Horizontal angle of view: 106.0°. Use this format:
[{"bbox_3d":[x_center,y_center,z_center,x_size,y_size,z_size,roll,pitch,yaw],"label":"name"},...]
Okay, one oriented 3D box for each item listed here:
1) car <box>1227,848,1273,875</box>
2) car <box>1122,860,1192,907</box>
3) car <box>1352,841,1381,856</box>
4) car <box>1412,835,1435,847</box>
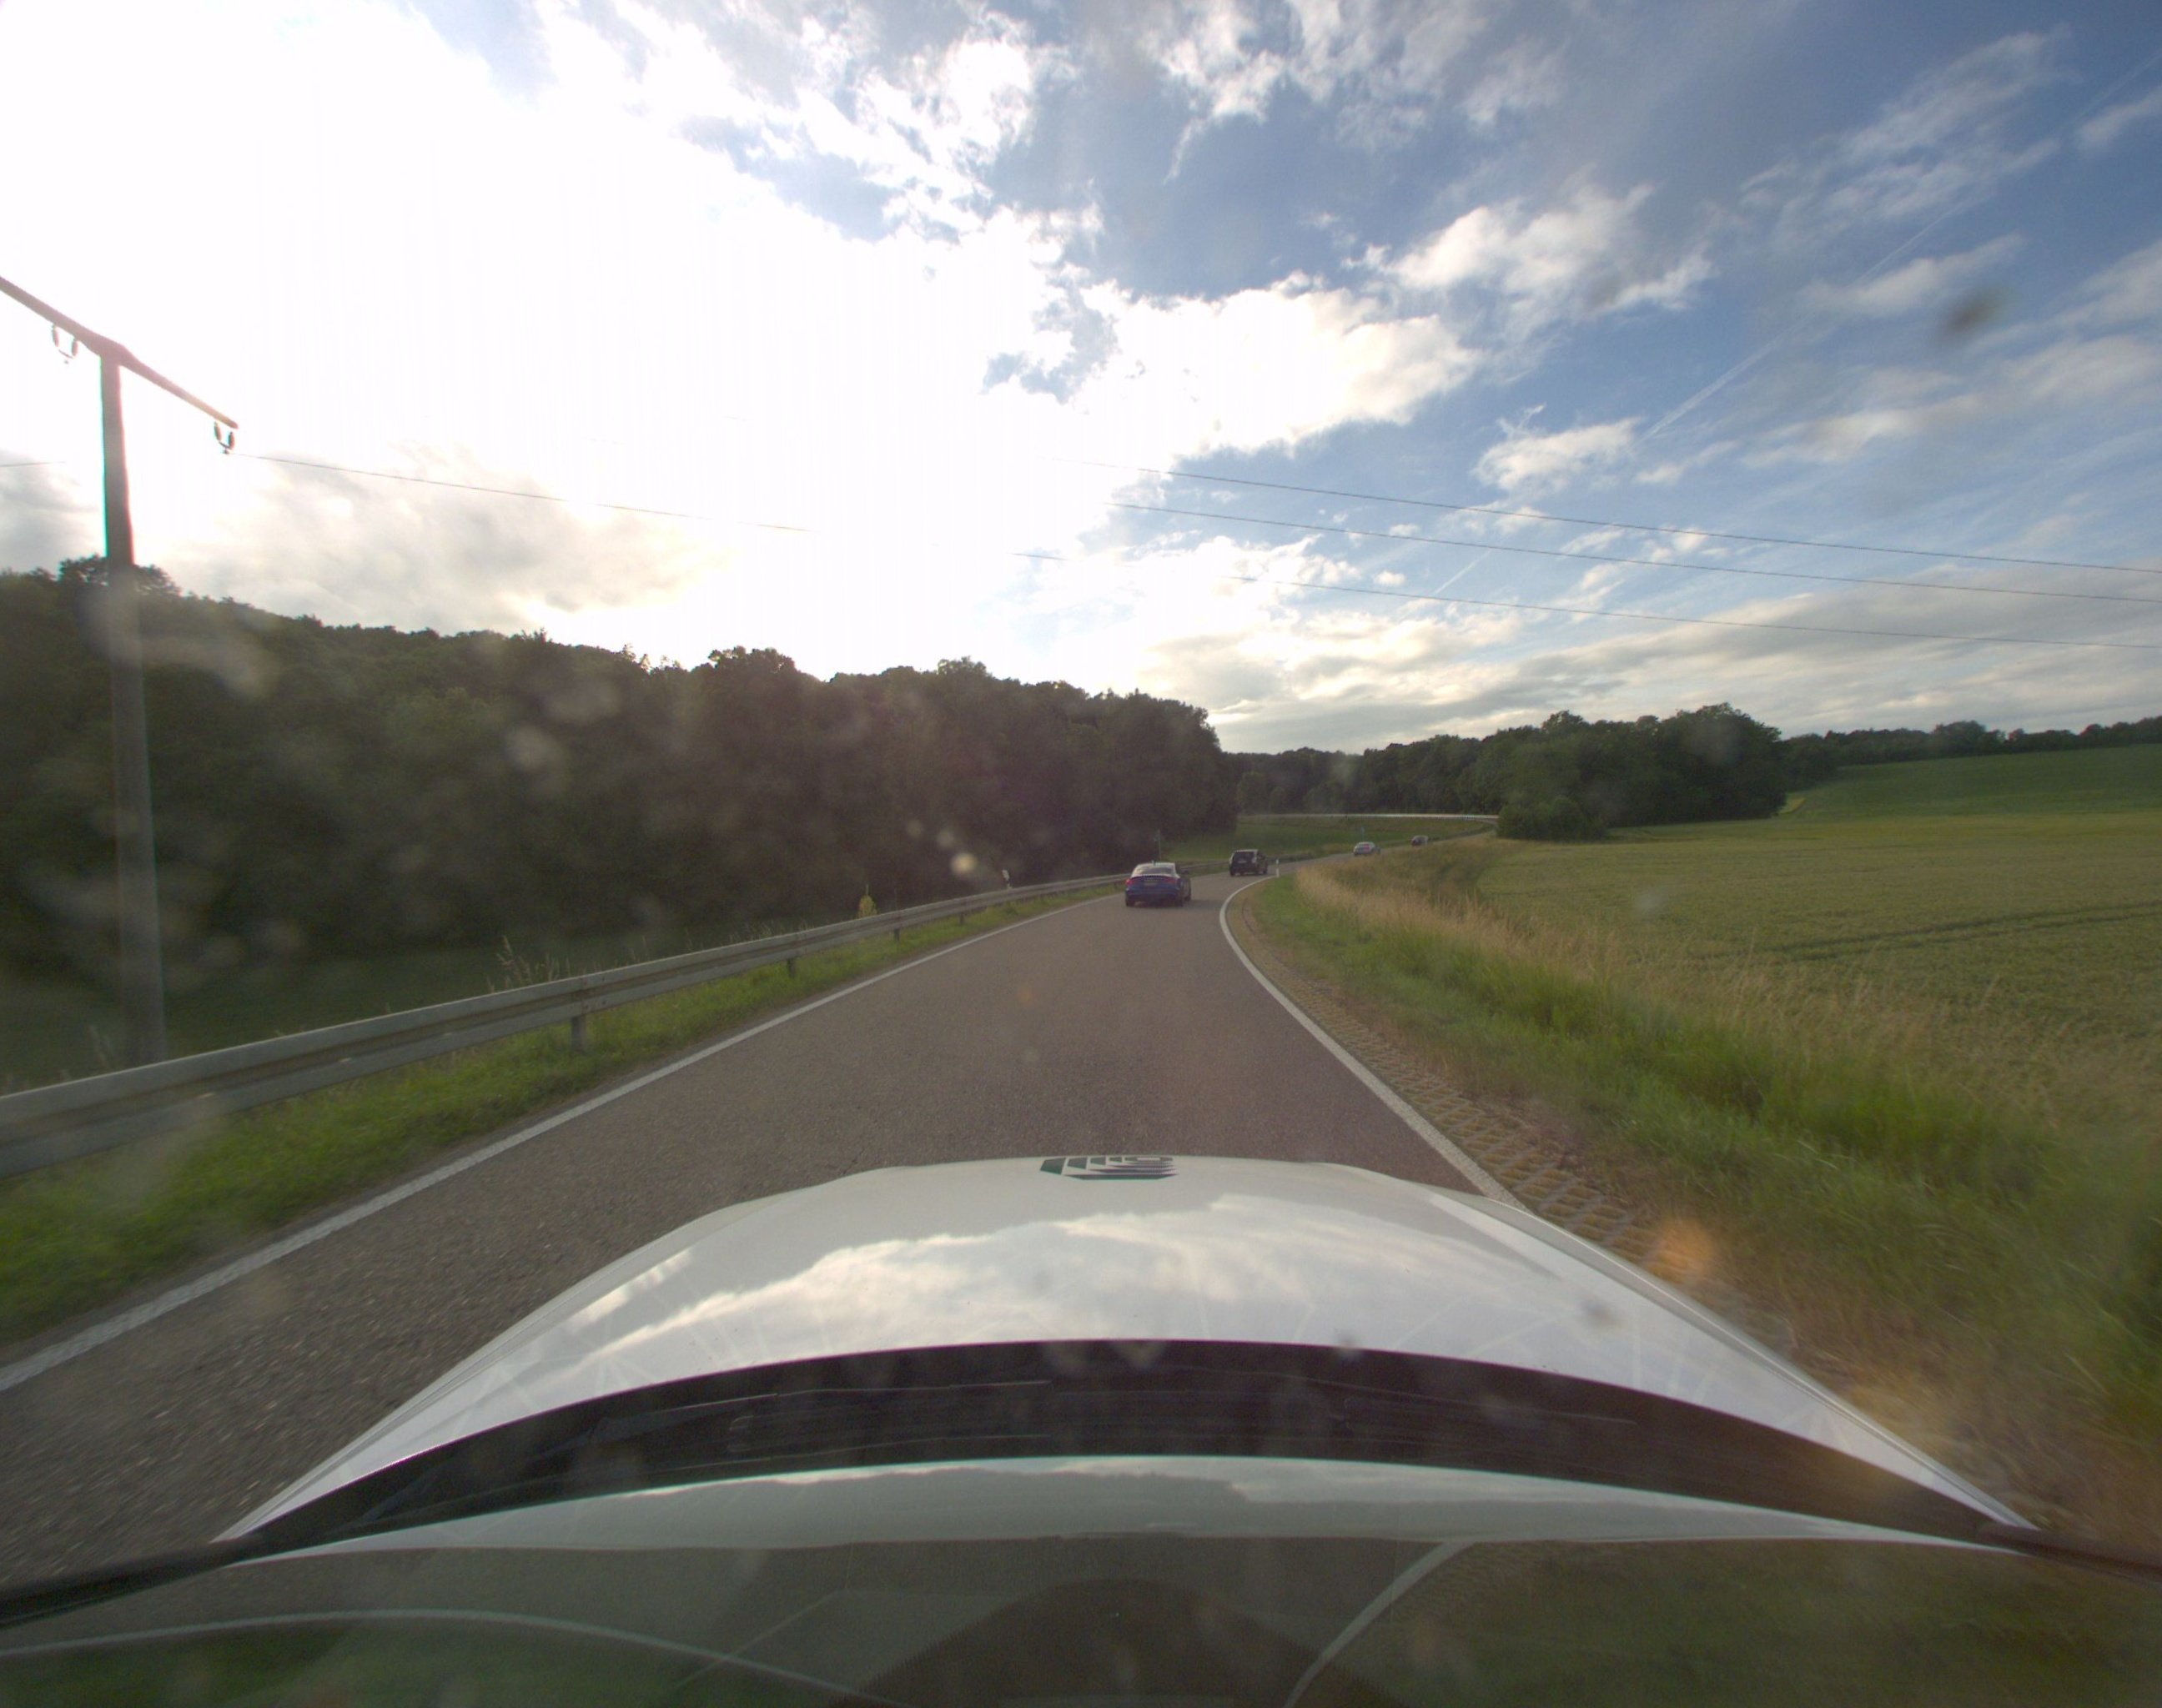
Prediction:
[{"bbox_3d":[10.776,0.429,51.666,1.844,1.569,4.024,-2,0,26],"label":"car"},{"bbox_3d":[2.586,0.912,26.814,1.806,1.339,4.364,-1,0,12],"label":"car"},{"bbox_3d":[29.836,-0.630,84.994,1.666,1.376,4.026,-5,-1,36],"label":"car"},{"bbox_3d":[43.714,-1.664,103.926,3.318,1.227,1.458,-4,-2,-42],"label":"car"}]
